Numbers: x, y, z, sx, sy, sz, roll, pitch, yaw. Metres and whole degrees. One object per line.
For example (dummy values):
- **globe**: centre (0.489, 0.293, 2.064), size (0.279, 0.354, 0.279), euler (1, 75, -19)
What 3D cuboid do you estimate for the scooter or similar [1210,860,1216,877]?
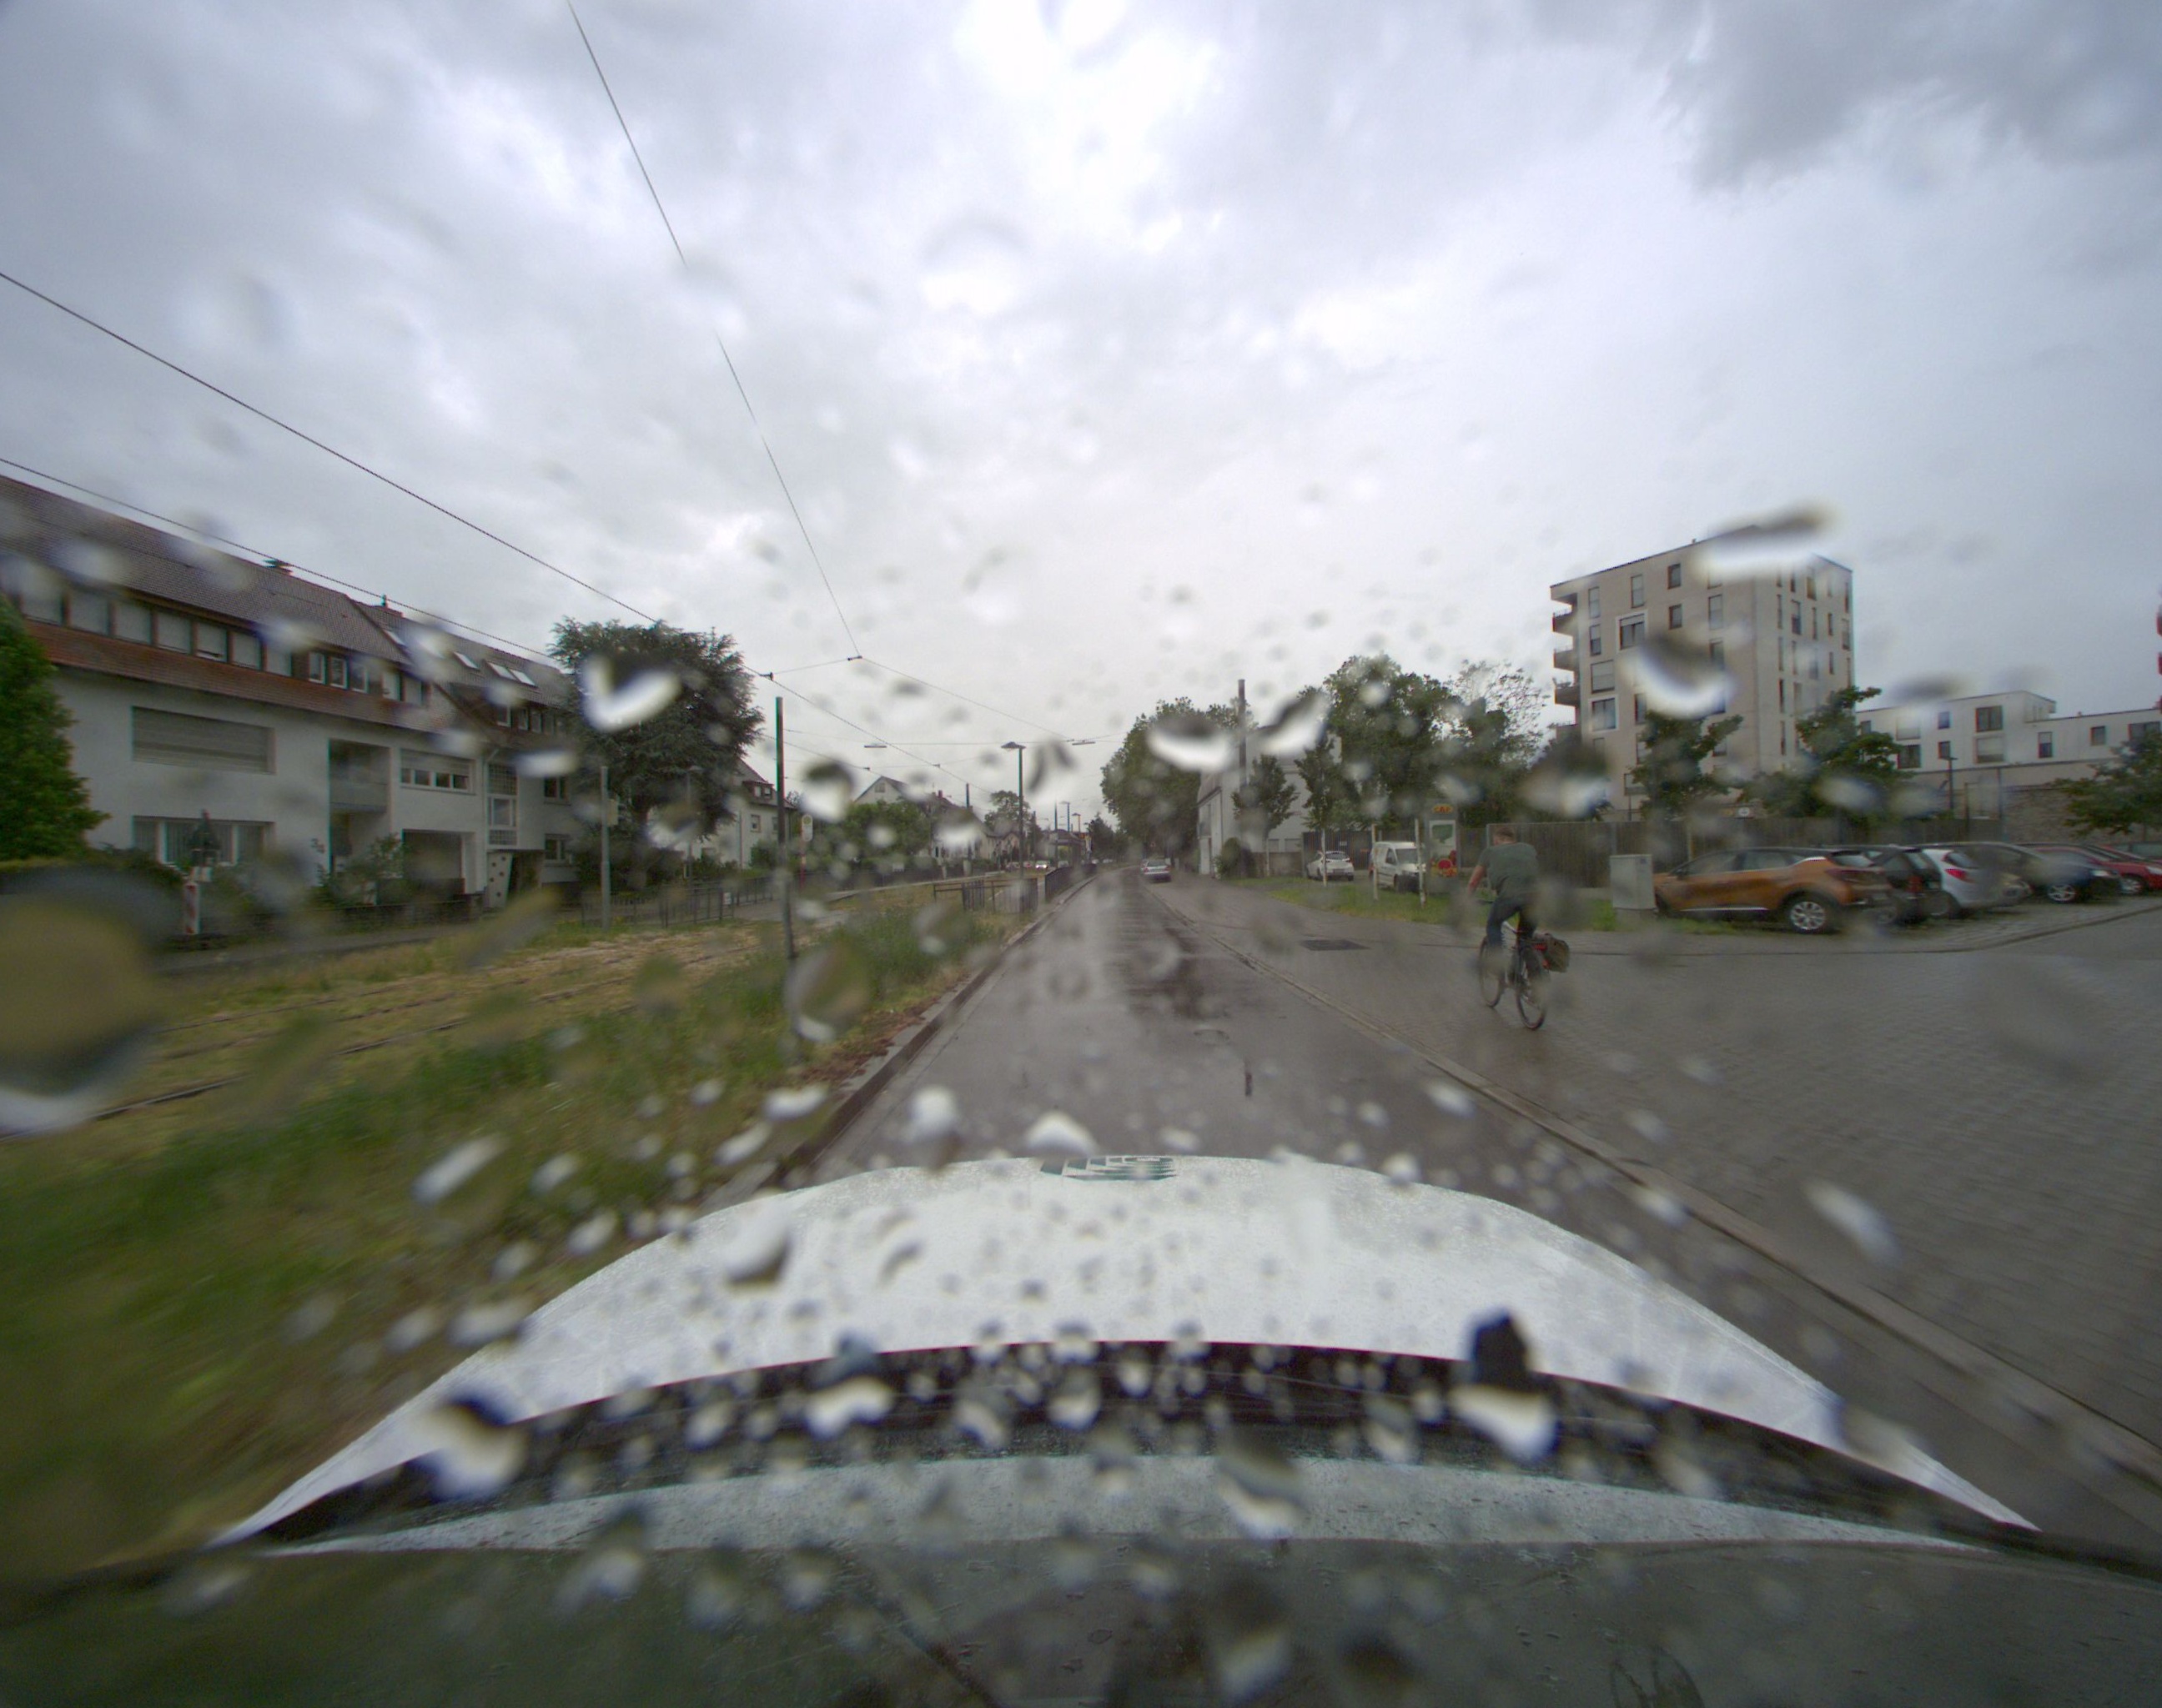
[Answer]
- **scooter or similar**: centre (8.278, 0.910, 51.154), size (0.331, 1.085, 1.399), euler (-1, -1, 8)

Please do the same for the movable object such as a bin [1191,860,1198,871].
- **movable object such as a bin**: centre (10.689, 1.124, 77.006), size (0.534, 1.022, 0.739), euler (-4, -1, 2)

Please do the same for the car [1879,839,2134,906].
- **car**: centre (24.777, 0.433, 21.981), size (1.977, 1.609, 4.319), euler (-1, 0, -32)

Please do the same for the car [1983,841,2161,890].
- **car**: centre (31.940, 0.374, 25.898), size (2.005, 1.441, 3.963), euler (0, -1, -28)

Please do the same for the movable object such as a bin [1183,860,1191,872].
- **movable object such as a bin**: centre (10.132, 1.137, 77.727), size (0.690, 1.022, 0.825), euler (-4, -1, 2)

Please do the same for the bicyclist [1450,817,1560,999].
- **bicyclist**: centre (3.828, 0.469, 7.399), size (0.533, 1.560, 0.771), euler (0, -1, -5)

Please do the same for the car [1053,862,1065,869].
- **car**: centre (-4.642, 2.503, 171.535), size (1.918, 1.486, 4.007), euler (0, -1, 6)

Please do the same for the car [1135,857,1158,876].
- **car**: centre (5.477, 1.065, 68.644), size (1.799, 1.467, 3.797), euler (-4, -1, 3)

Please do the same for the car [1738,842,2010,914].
- **car**: centre (17.729, 0.518, 18.441), size (2.004, 1.441, 3.965), euler (0, -1, -26)

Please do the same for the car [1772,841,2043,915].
- **car**: centre (19.880, 0.497, 19.808), size (1.977, 1.587, 4.319), euler (-1, 0, -32)

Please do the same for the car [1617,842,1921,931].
- **car**: centre (12.881, 0.573, 15.552), size (2.004, 1.441, 3.965), euler (0, -1, -26)

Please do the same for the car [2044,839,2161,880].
- **car**: centre (38.662, 0.212, 29.905), size (2.006, 1.441, 3.962), euler (0, -1, -29)

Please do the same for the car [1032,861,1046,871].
- **car**: centre (-6.496, 1.920, 126.777), size (1.626, 1.493, 4.004), euler (0, -1, 4)

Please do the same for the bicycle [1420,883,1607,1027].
- **bicycle**: centre (3.827, 0.832, 7.415), size (0.535, 1.093, 1.945), euler (0, -1, -4)

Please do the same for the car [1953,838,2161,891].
- **car**: centre (29.627, 0.280, 24.455), size (1.974, 1.431, 4.325), euler (-1, 0, -27)

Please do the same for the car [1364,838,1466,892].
- **car**: centre (11.785, 0.351, 29.139), size (1.954, 1.784, 4.903), euler (0, 0, 4)

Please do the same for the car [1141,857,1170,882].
- **car**: centre (4.756, 0.980, 52.414), size (1.643, 1.405, 4.653), euler (-4, -1, 3)

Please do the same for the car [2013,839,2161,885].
- **car**: centre (34.273, 0.282, 27.086), size (2.005, 1.441, 3.963), euler (0, -1, -28)

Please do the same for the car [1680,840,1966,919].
- **car**: centre (15.308, 0.508, 17.050), size (2.004, 1.441, 3.965), euler (0, -1, -26)

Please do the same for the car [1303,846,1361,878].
- **car**: centre (12.746, 0.385, 41.588), size (1.954, 1.535, 4.369), euler (0, 0, 4)
